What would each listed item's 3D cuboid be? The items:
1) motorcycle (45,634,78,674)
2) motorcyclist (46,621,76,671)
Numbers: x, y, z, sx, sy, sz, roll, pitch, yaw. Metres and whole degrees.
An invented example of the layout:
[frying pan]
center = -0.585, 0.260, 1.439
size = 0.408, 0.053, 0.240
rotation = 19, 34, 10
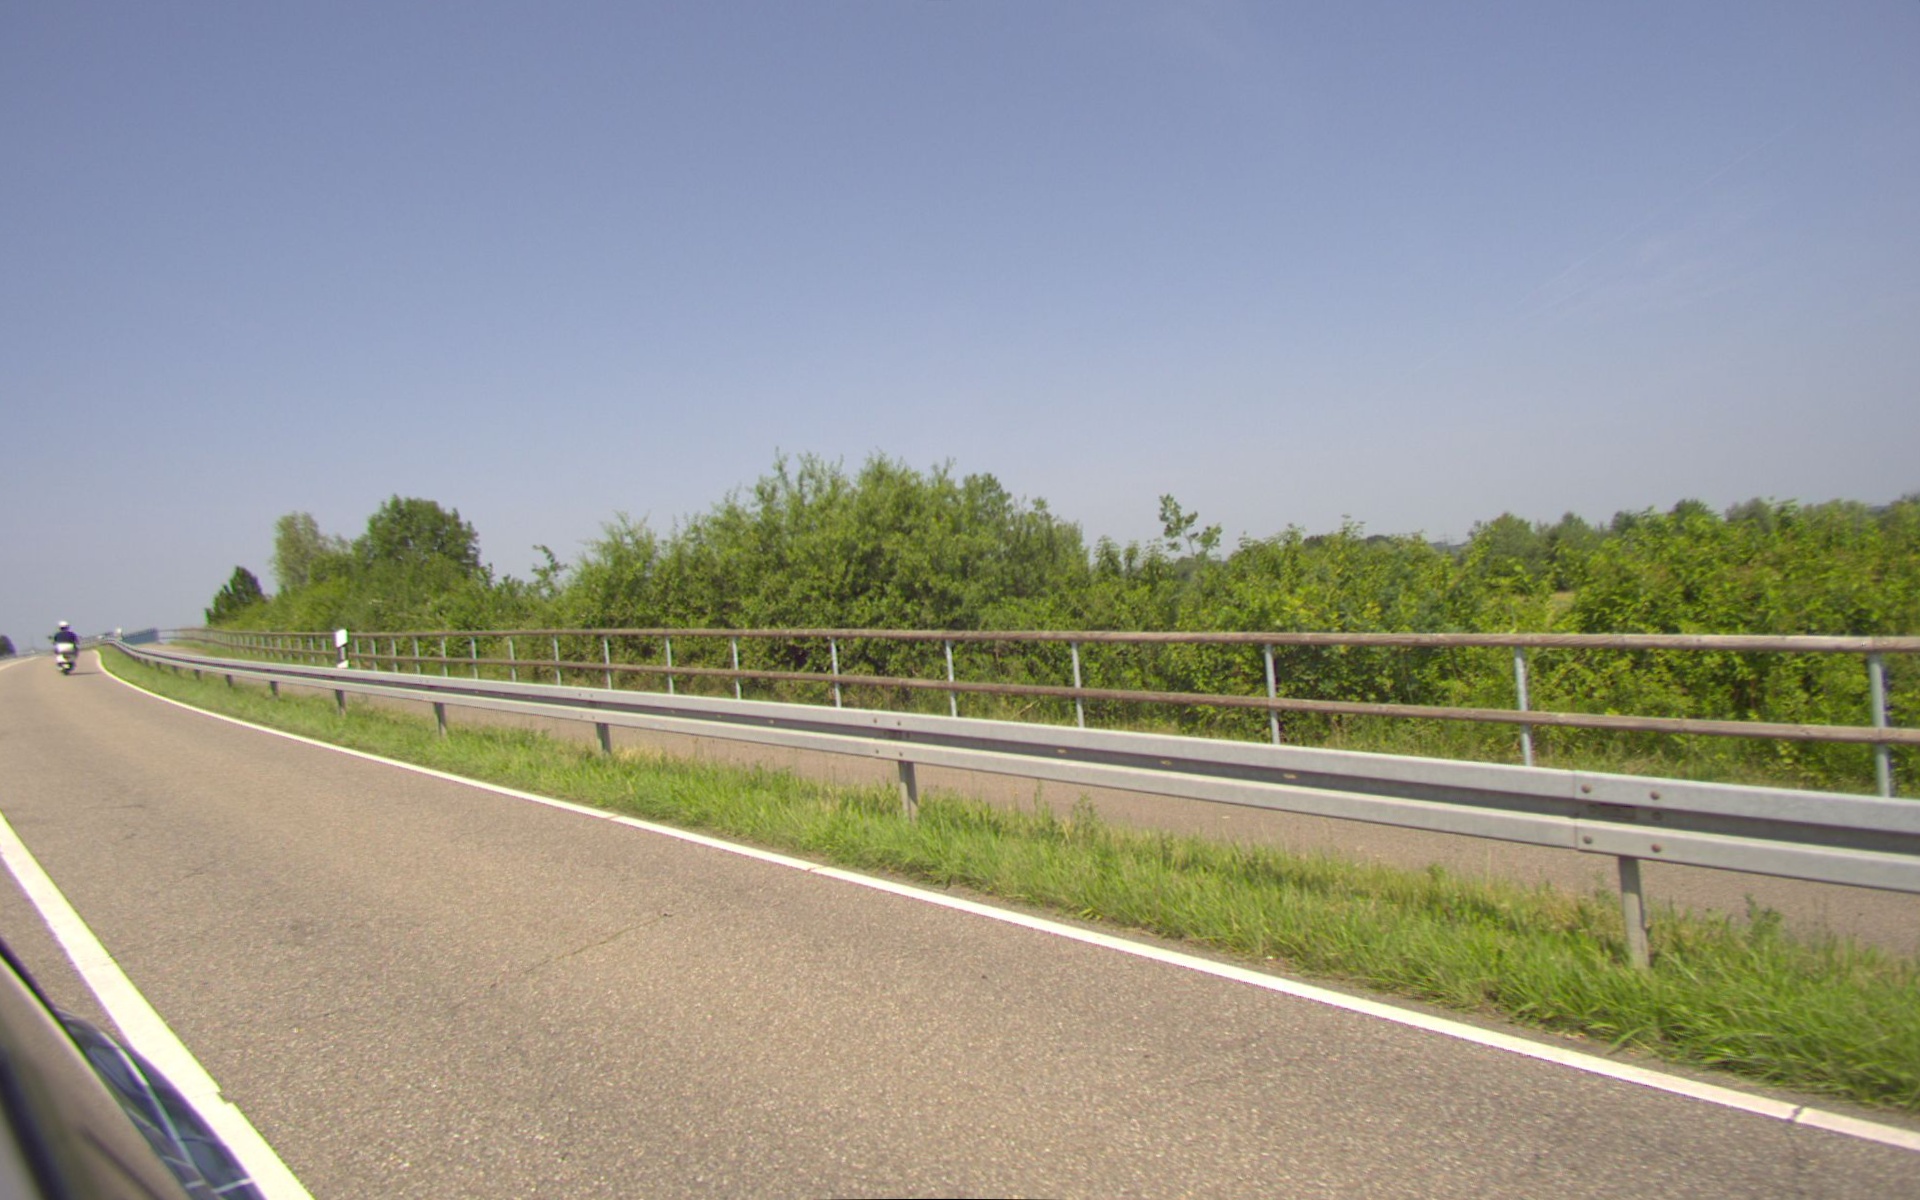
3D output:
[motorcycle]
center = -29.063, 1.736, 32.729
size = 1.638, 1.233, 0.636
rotation = -2, -1, 43
[motorcyclist]
center = -29.066, 1.464, 32.712
size = 0.775, 1.574, 0.647
rotation = -2, -1, 43
